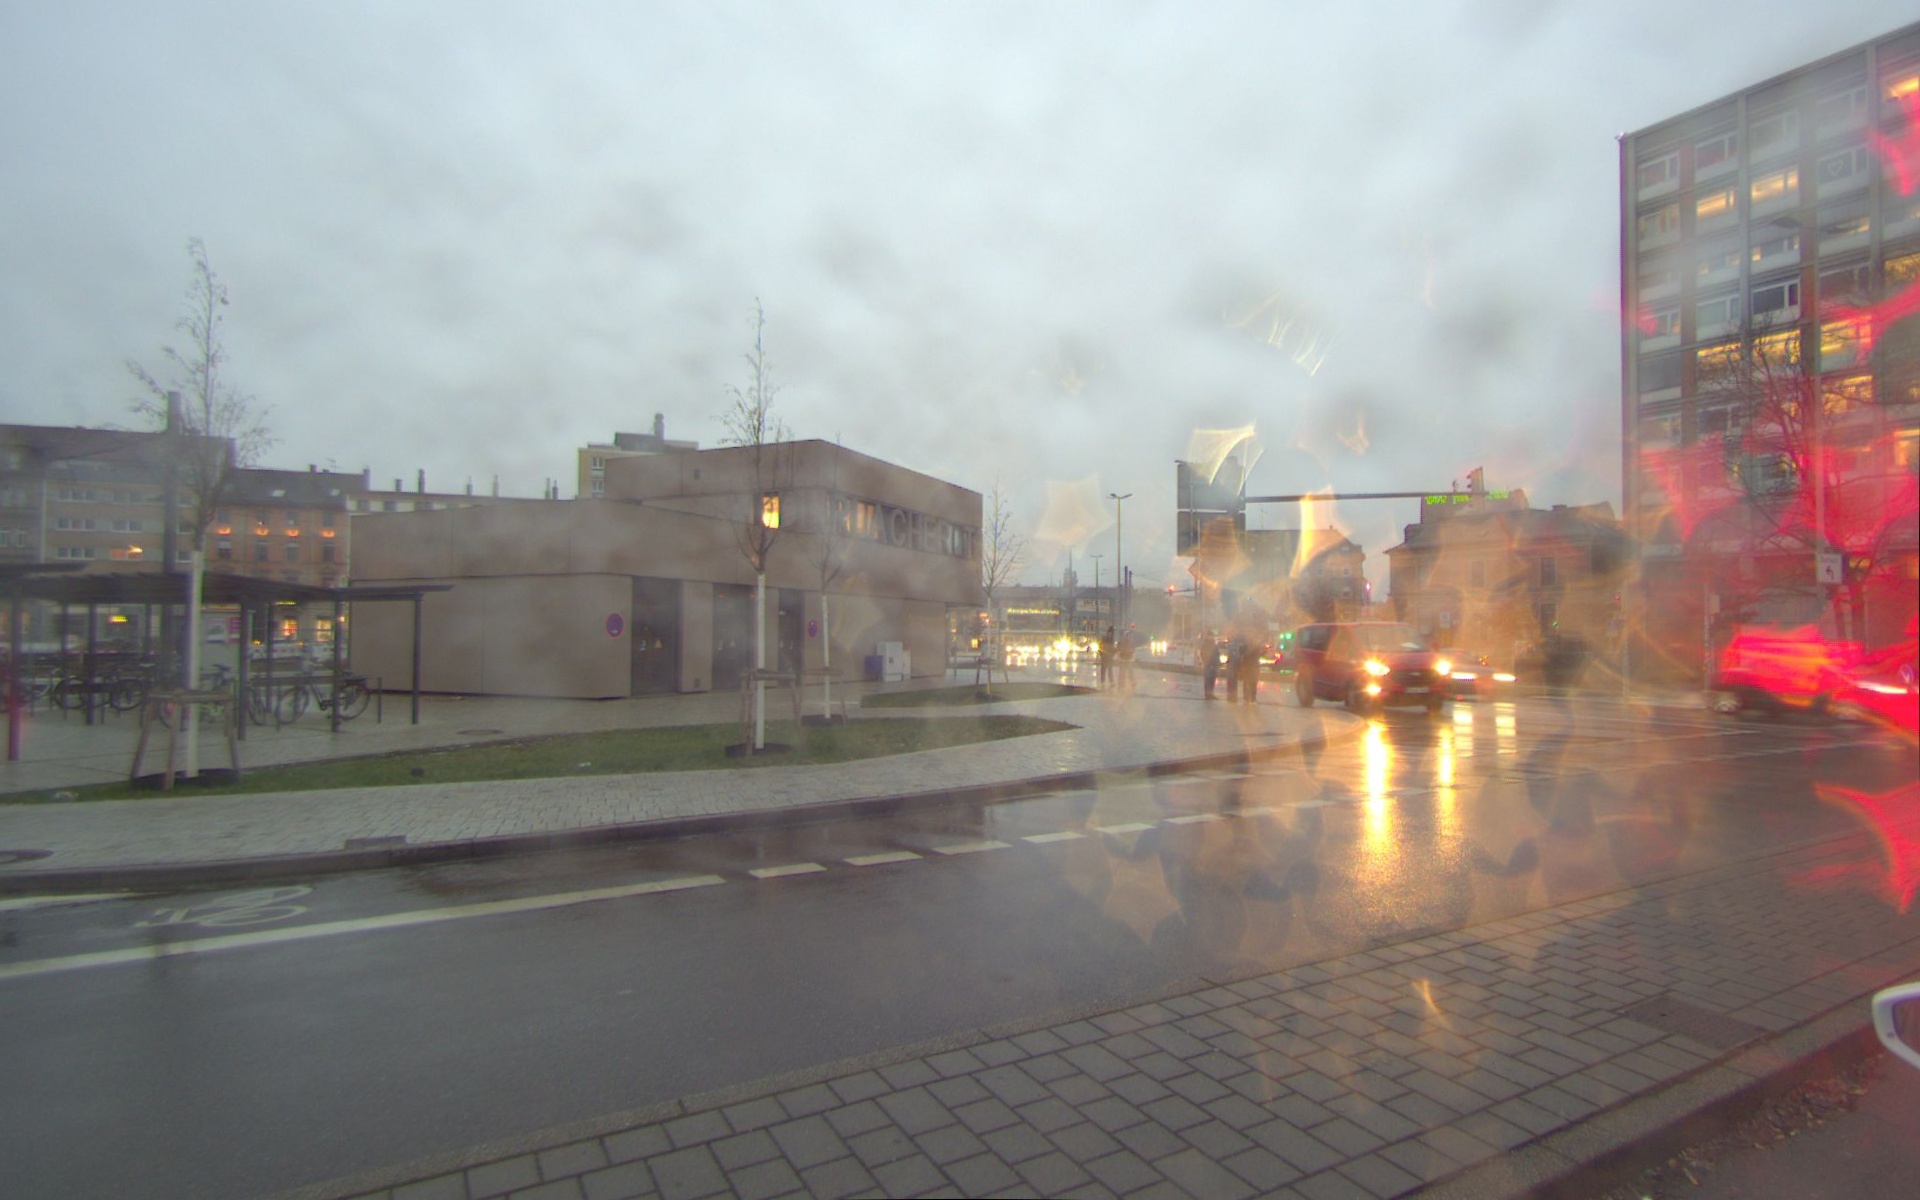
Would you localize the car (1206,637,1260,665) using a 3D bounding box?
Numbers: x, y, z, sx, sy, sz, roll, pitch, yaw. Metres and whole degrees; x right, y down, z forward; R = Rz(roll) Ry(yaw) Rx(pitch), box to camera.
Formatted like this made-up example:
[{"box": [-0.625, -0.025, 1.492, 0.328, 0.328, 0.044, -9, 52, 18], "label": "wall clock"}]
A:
[{"box": [19.621, 3.665, 72.347, 3.514, 1.850, 1.672, 2, 0, 8], "label": "car"}]

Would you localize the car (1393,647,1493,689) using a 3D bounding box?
[{"box": [21.581, 3.012, 45.028, 1.798, 1.589, 3.984, 2, 0, -18], "label": "car"}]

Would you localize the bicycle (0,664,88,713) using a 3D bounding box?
[{"box": [-18.508, 1.742, 19.983, 0.466, 0.903, 1.693, 1, -2, 24], "label": "bicycle"}]

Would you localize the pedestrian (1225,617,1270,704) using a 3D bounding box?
[{"box": [6.941, 1.447, 24.242, 0.971, 2.047, 0.802, -1, -2, 19], "label": "pedestrian"}]

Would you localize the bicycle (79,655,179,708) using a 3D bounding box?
[{"box": [-17.687, 1.719, 21.426, 0.511, 1.050, 1.573, 1, -2, 19], "label": "bicycle"}]

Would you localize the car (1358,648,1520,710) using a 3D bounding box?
[{"box": [13.534, 2.192, 28.665, 1.813, 1.603, 4.121, 2, -3, -19], "label": "car"}]

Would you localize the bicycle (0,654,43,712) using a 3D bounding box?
[{"box": [-19.394, 1.641, 19.832, 0.466, 1.122, 1.797, 1, -2, 29], "label": "bicycle"}]

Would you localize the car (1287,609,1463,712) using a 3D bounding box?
[{"box": [9.311, 1.351, 23.018, 1.893, 2.097, 4.643, 0, -3, -3], "label": "car"}]

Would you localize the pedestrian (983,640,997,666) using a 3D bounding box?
[{"box": [2.345, 4.116, 78.540, 0.741, 2.040, 0.753, 1, -2, -31], "label": "pedestrian"}]

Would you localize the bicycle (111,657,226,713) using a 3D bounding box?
[{"box": [-16.530, 1.745, 21.033, 0.466, 1.087, 1.830, 1, -2, 26], "label": "bicycle"}]

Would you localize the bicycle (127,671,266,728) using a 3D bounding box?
[{"box": [-13.586, 1.746, 17.945, 0.466, 0.903, 1.923, 1, -2, 29], "label": "bicycle"}]

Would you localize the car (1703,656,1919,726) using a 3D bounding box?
[{"box": [18.650, 1.919, 21.866, 1.673, 1.319, 3.756, 1, -3, -16], "label": "car"}]

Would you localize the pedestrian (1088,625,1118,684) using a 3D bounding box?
[{"box": [4.394, 1.658, 30.843, 0.731, 1.793, 0.546, 0, -2, -16], "label": "pedestrian"}]

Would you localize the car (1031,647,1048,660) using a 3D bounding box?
[{"box": [9.312, 6.246, 117.934, 1.775, 1.496, 4.595, 1, -3, 2], "label": "car"}]

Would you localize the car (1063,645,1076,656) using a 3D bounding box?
[{"box": [16.203, 7.462, 148.701, 1.749, 1.529, 4.003, -1, -2, 7], "label": "car"}]

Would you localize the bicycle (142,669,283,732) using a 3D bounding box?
[{"box": [-12.936, 1.711, 17.453, 0.466, 0.989, 1.923, 1, -2, 29], "label": "bicycle"}]

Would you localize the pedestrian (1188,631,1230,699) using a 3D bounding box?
[{"box": [6.588, 1.713, 26.621, 0.838, 1.778, 0.659, 0, -2, -14], "label": "pedestrian"}]

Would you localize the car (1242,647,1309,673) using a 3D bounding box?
[{"box": [20.089, 3.816, 63.972, 3.741, 1.502, 1.602, 2, 0, -1], "label": "car"}]

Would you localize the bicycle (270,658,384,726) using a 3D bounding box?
[{"box": [-11.750, 1.684, 18.713, 0.605, 1.172, 1.755, 1, -2, 20], "label": "bicycle"}]

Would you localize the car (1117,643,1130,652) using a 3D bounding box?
[{"box": [30.579, 8.870, 187.919, 1.705, 1.529, 4.000, -1, -2, 20], "label": "car"}]

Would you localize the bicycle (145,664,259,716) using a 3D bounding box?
[{"box": [-15.180, 1.787, 20.168, 0.466, 0.968, 1.767, 1, -2, 29], "label": "bicycle"}]

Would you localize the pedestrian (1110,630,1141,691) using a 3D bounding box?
[{"box": [5.127, 1.865, 31.104, 0.723, 1.863, 0.674, 0, -2, -16], "label": "pedestrian"}]

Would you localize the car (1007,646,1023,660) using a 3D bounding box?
[{"box": [6.358, 6.131, 115.808, 1.710, 1.467, 3.715, -1, -2, 1], "label": "car"}]

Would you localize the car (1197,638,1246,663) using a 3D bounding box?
[{"box": [19.391, 3.732, 74.492, 3.321, 1.724, 1.526, 2, 0, 8], "label": "car"}]
